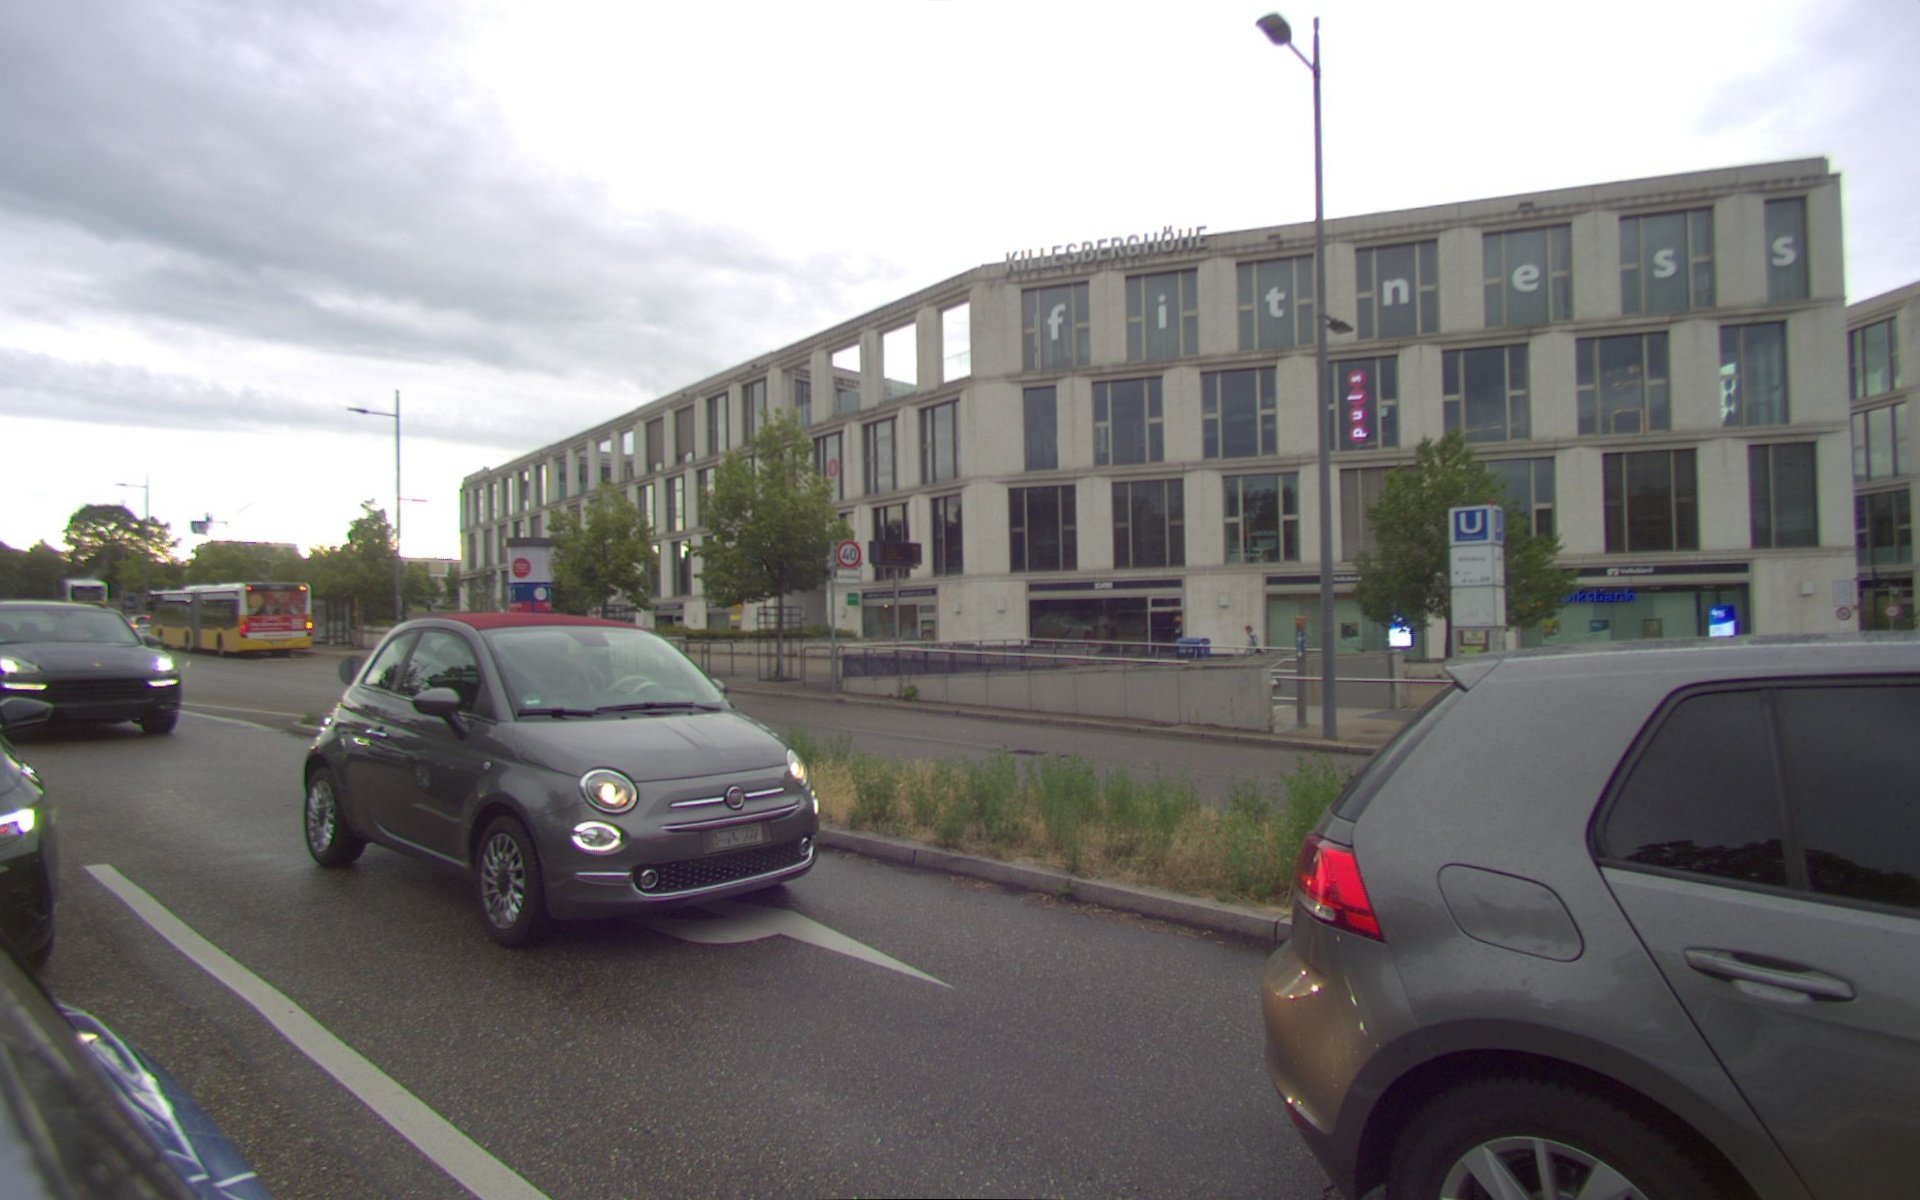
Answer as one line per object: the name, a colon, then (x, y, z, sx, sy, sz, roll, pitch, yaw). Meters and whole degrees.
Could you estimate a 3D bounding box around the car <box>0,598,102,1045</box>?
car: (-5.411, 0.762, 4.407, 4.766, 1.476, 1.877, -1, 0, 41)

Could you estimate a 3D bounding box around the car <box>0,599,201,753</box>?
car: (-11.705, 0.864, 13.114, 4.612, 1.671, 1.910, -1, -1, 39)

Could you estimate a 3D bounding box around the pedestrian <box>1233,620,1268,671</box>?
pedestrian: (9.402, 1.457, 32.768, 0.912, 1.617, 0.755, -1, -2, 34)

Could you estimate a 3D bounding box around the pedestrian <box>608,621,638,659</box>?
pedestrian: (-14.893, 1.759, 44.770, 0.867, 1.593, 0.970, -1, 0, 43)

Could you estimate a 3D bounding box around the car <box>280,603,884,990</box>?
car: (-2.246, 0.794, 5.658, 3.502, 1.492, 1.611, -1, -2, 39)

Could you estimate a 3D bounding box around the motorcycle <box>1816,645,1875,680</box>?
motorcycle: (20.451, 1.431, 23.395, 0.517, 0.746, 1.098, -1, 0, 9)

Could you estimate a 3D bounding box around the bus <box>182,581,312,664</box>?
bus: (-31.130, 0.918, 43.981, 9.206, 3.236, 2.723, -1, 0, 43)

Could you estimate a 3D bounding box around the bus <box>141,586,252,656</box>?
bus: (-38.156, 0.987, 50.389, 9.911, 3.205, 2.658, -1, 0, 42)

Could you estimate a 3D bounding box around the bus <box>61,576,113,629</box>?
bus: (-76.580, 0.269, 89.057, 2.717, 4.185, 19.383, -1, 0, -39)

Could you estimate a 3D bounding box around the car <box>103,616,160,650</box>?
car: (-46.625, 1.826, 56.917, 3.998, 1.800, 1.843, -1, 0, 41)

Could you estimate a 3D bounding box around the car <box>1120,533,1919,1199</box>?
car: (2.596, 0.651, 1.568, 4.374, 1.492, 1.797, -1, -2, 41)
